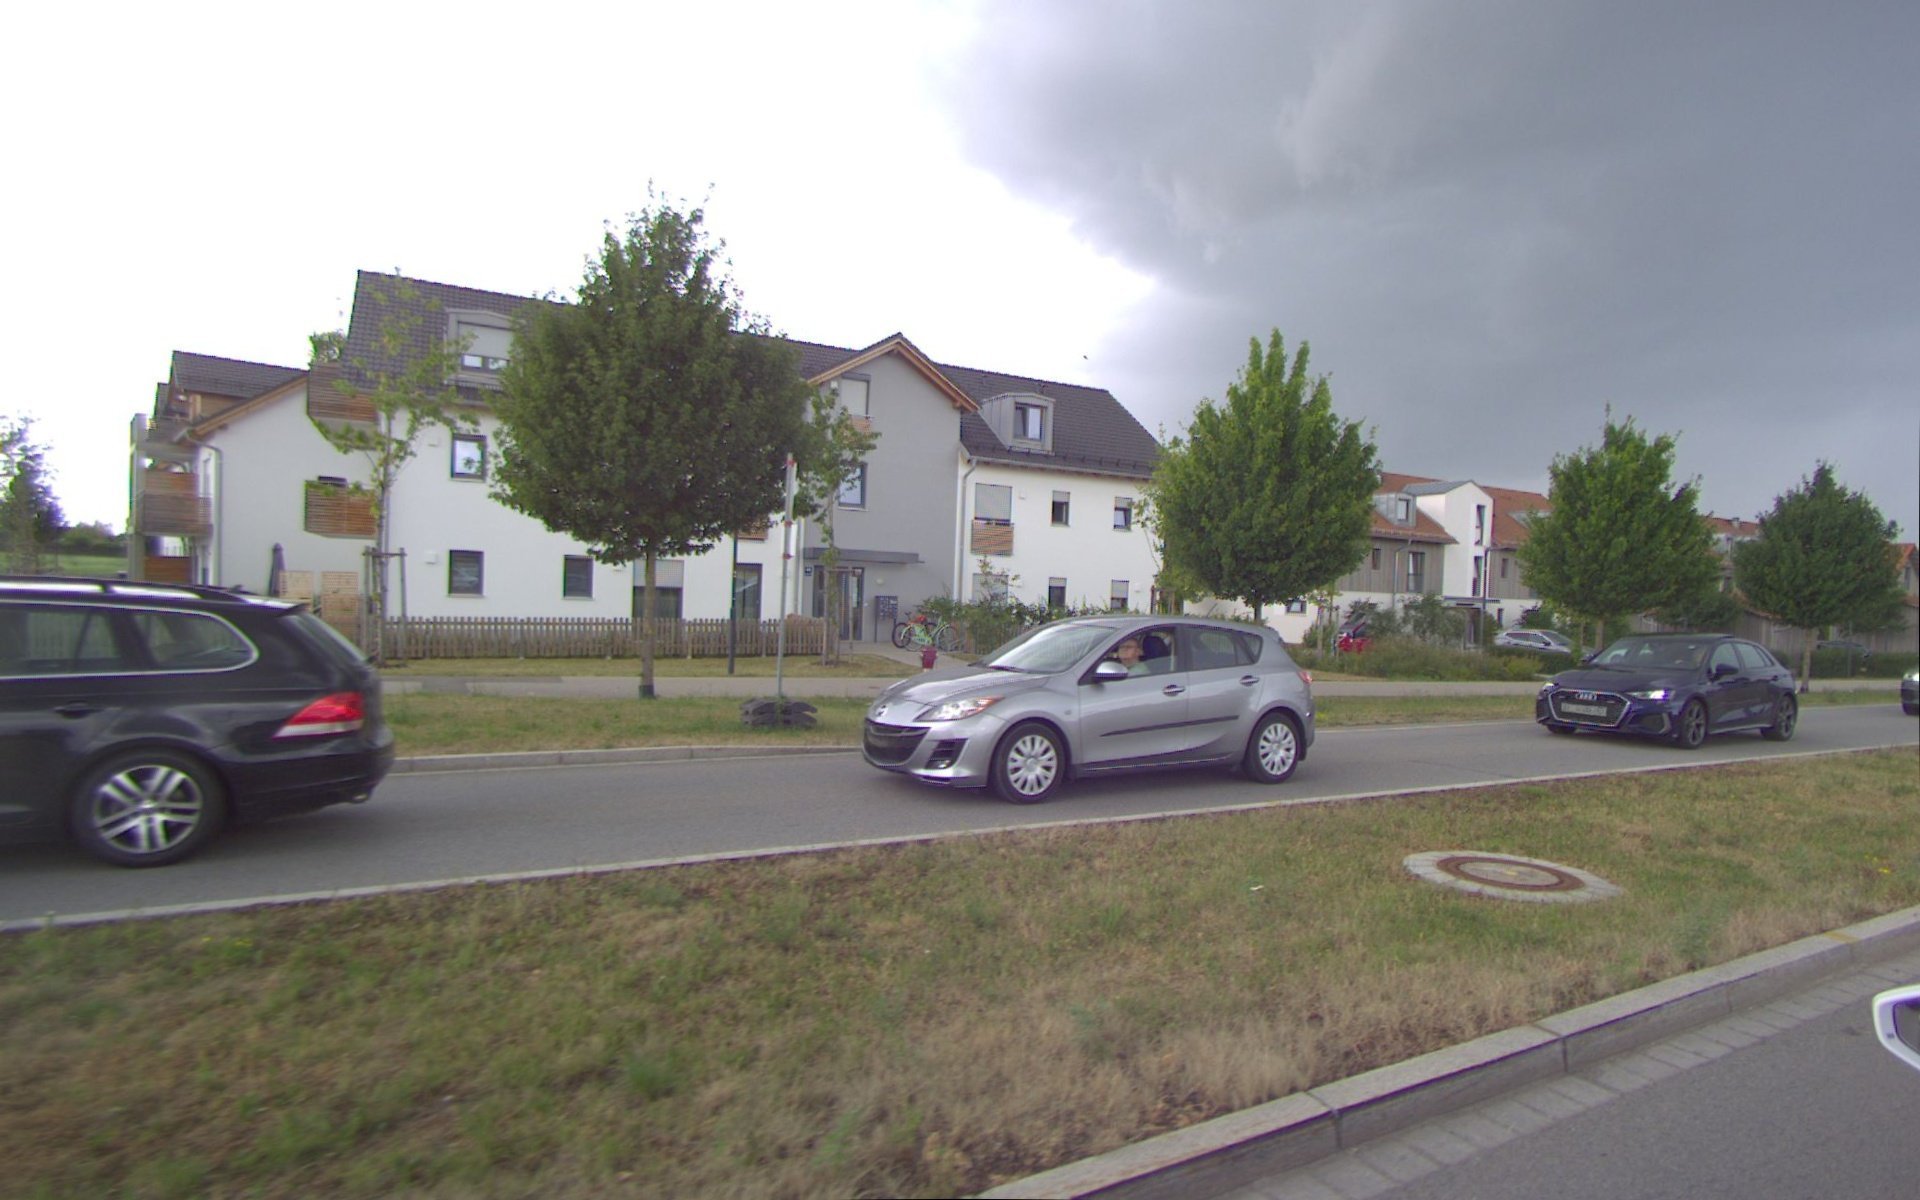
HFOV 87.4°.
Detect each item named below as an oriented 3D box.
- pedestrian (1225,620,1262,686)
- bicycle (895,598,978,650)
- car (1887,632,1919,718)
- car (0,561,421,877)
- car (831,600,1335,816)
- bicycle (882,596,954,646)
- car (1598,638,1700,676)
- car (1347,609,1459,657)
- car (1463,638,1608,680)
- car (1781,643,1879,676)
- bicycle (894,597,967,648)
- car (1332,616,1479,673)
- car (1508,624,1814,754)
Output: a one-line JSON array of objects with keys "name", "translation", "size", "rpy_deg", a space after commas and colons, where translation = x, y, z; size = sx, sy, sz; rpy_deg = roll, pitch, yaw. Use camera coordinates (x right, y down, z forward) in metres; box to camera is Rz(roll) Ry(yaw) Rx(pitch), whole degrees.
[{"name": "pedestrian", "translation": [6.943, 1.294, 24.581], "size": [0.579, 1.550, 0.543], "rpy_deg": [1, 2, -30]}, {"name": "bicycle", "translation": [-0.664, 0.691, 28.612], "size": [2.316, 1.431, 0.679], "rpy_deg": [2, -1, -31]}, {"name": "car", "translation": [19.974, 1.459, 19.470], "size": [4.166, 1.603, 1.817], "rpy_deg": [2, -1, -30]}, {"name": "car", "translation": [-5.357, 0.559, 5.412], "size": [4.284, 1.508, 1.818], "rpy_deg": [2, -1, -29]}, {"name": "car", "translation": [1.153, 0.814, 8.864], "size": [4.166, 1.508, 1.817], "rpy_deg": [2, -1, -30]}, {"name": "bicycle", "translation": [-1.266, 0.638, 30.195], "size": [2.070, 1.447, 0.679], "rpy_deg": [2, -1, -31]}, {"name": "car", "translation": [31.178, 2.548, 45.517], "size": [1.545, 1.509, 3.498], "rpy_deg": [2, -1, -30]}, {"name": "car", "translation": [21.087, 1.581, 47.742], "size": [5.134, 2.041, 1.985], "rpy_deg": [2, 4, -28]}, {"name": "car", "translation": [23.274, 2.340, 40.819], "size": [1.883, 1.449, 4.885], "rpy_deg": [2, -1, -28]}, {"name": "car", "translation": [44.750, 3.061, 51.742], "size": [1.545, 1.509, 3.498], "rpy_deg": [2, -1, -30]}, {"name": "bicycle", "translation": [-0.852, 0.675, 29.552], "size": [2.070, 1.436, 0.679], "rpy_deg": [2, -1, -31]}, {"name": "car", "translation": [16.031, 1.558, 36.434], "size": [1.880, 1.840, 4.892], "rpy_deg": [2, -1, -24]}, {"name": "car", "translation": [9.690, 1.136, 13.821], "size": [4.299, 1.508, 1.817], "rpy_deg": [2, -1, -30]}]
